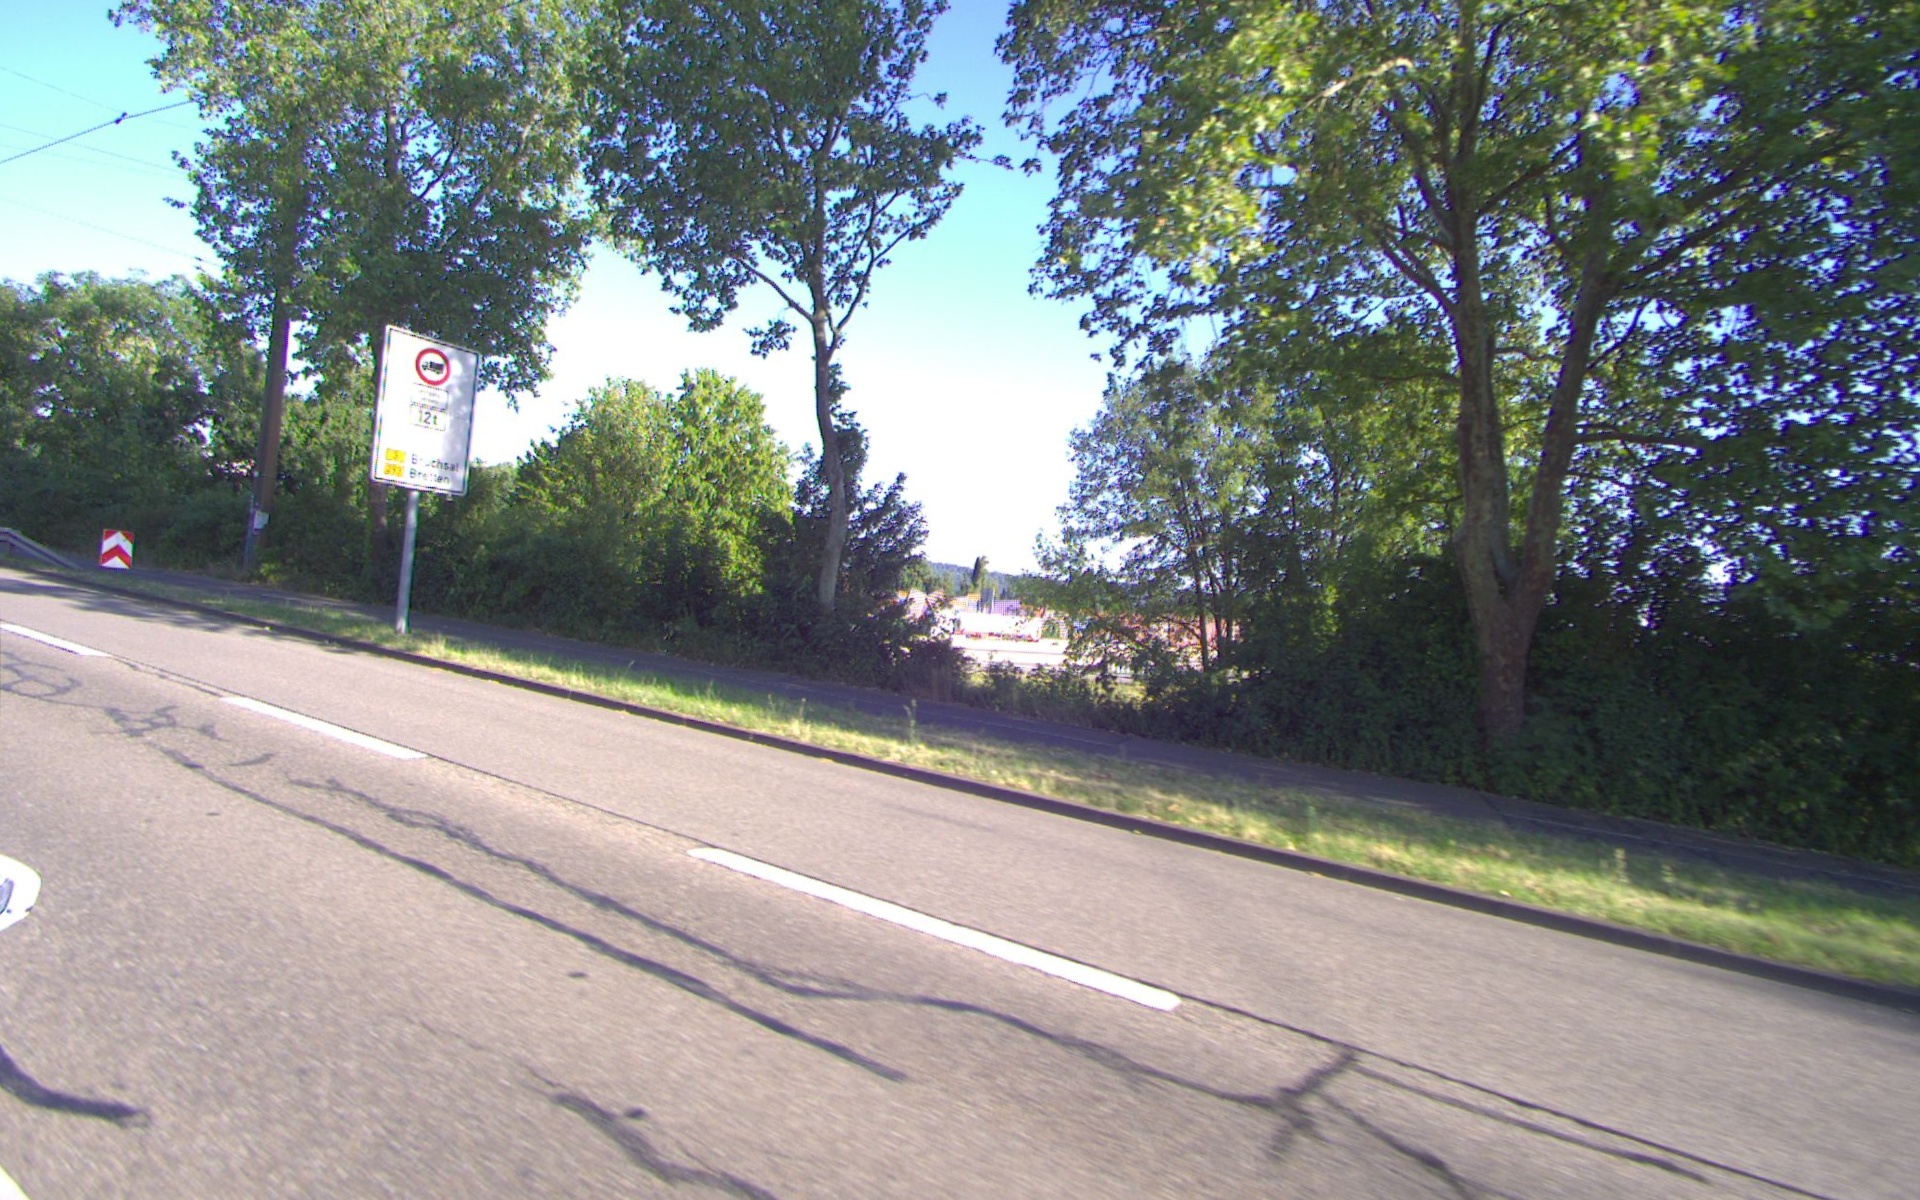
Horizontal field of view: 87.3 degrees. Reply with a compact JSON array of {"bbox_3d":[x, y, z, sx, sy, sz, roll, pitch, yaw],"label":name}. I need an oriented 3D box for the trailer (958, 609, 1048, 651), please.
[{"bbox_3d":[5.629,3.912,130.003,11.269,3.883,3.114,9,-2,-27],"label":"trailer"}]

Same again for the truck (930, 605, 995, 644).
[{"bbox_3d":[0.348,3.089,127.256,7.257,3.883,3.114,9,-2,-27],"label":"truck"}]
